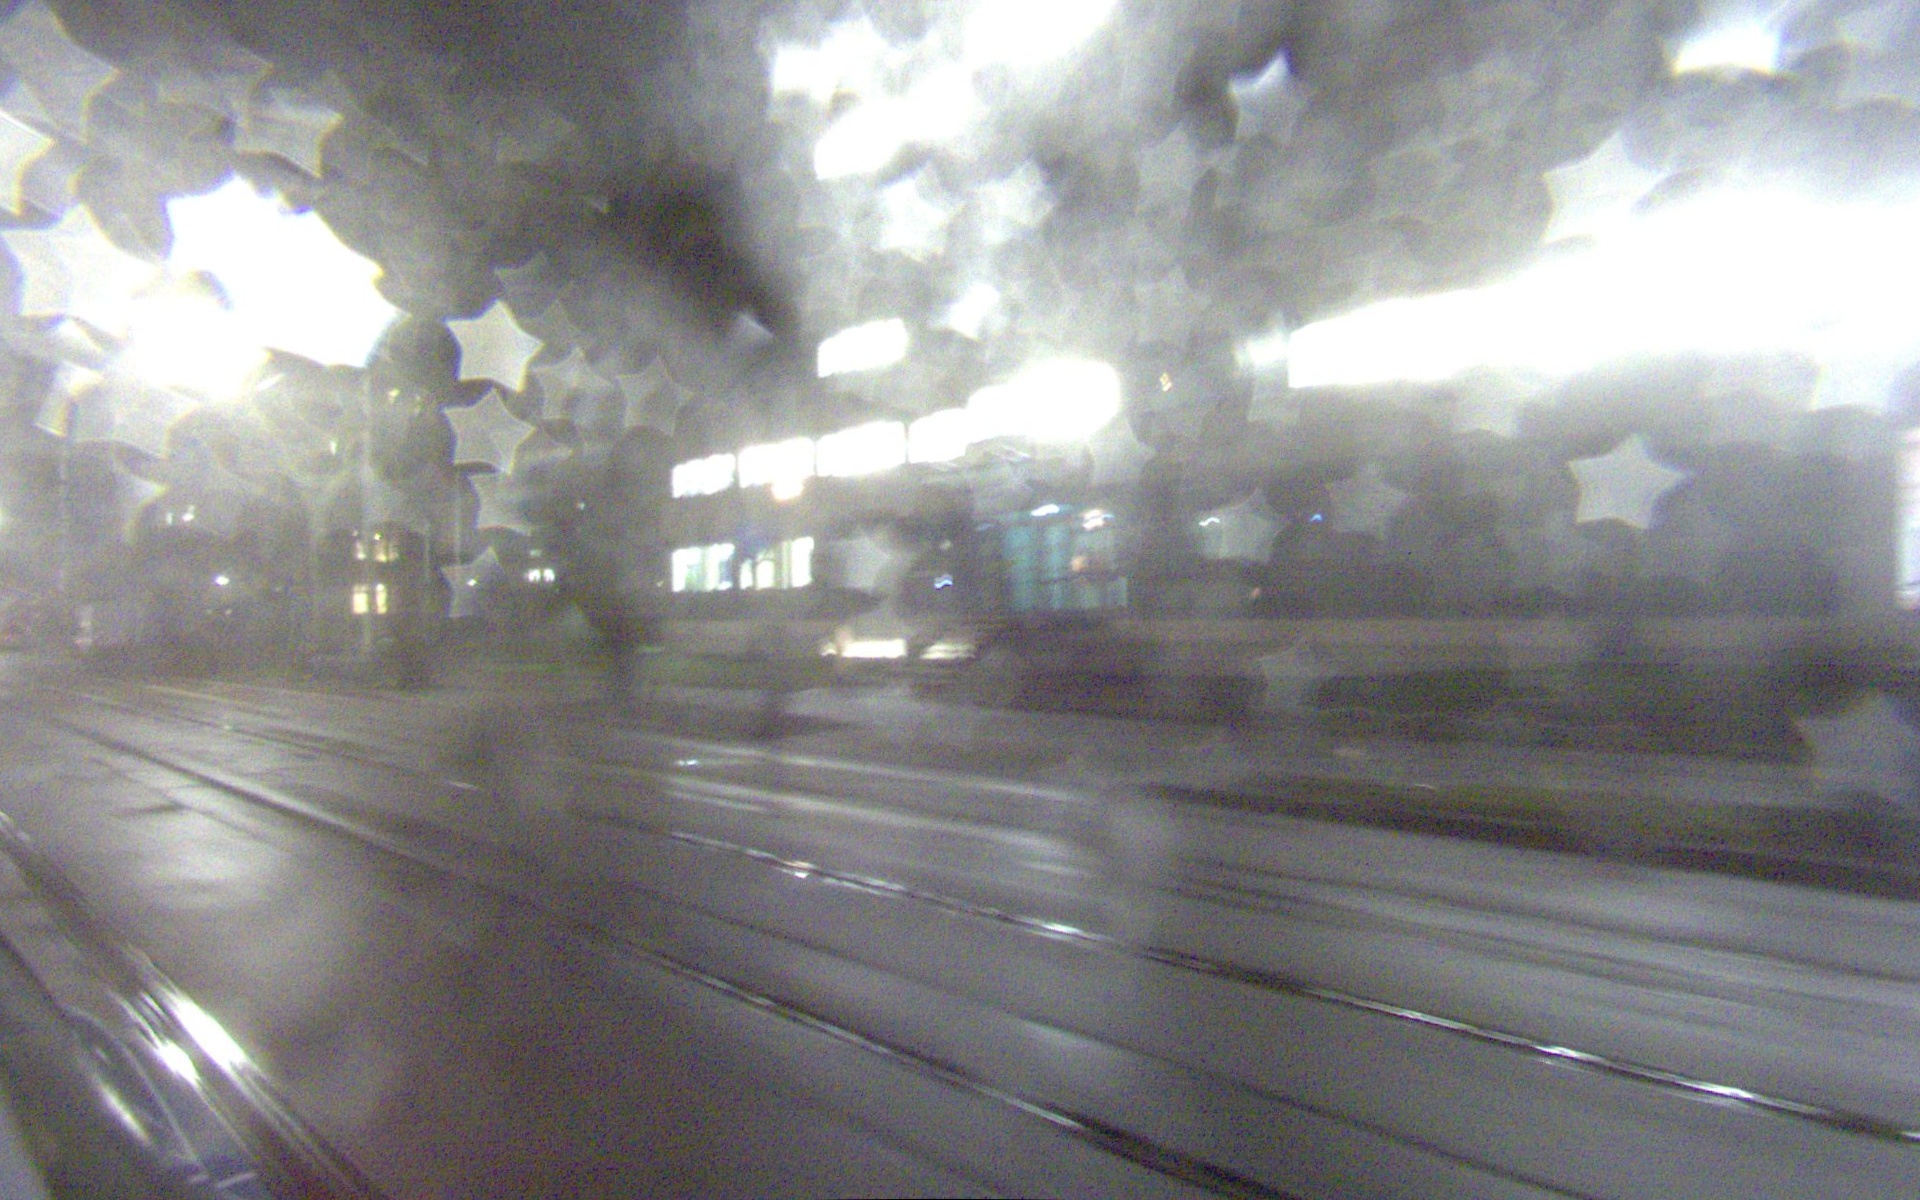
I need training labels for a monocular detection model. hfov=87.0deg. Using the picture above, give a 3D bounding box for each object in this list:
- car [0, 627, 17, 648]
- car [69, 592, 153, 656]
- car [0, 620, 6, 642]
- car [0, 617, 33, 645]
[{"bbox_3d":[-69.019,2.695,72.424,3.909,1.432,1.674,-2,-2,38],"label":"car"},{"bbox_3d":[-37.662,1.087,44.825,6.392,2.611,2.161,-2,-2,44],"label":"car"},{"bbox_3d":[-74.560,2.383,77.385,4.515,1.643,1.962,-1,-1,41],"label":"car"},{"bbox_3d":[-61.032,1.978,64.861,4.600,1.668,1.948,-1,1,43],"label":"car"}]
